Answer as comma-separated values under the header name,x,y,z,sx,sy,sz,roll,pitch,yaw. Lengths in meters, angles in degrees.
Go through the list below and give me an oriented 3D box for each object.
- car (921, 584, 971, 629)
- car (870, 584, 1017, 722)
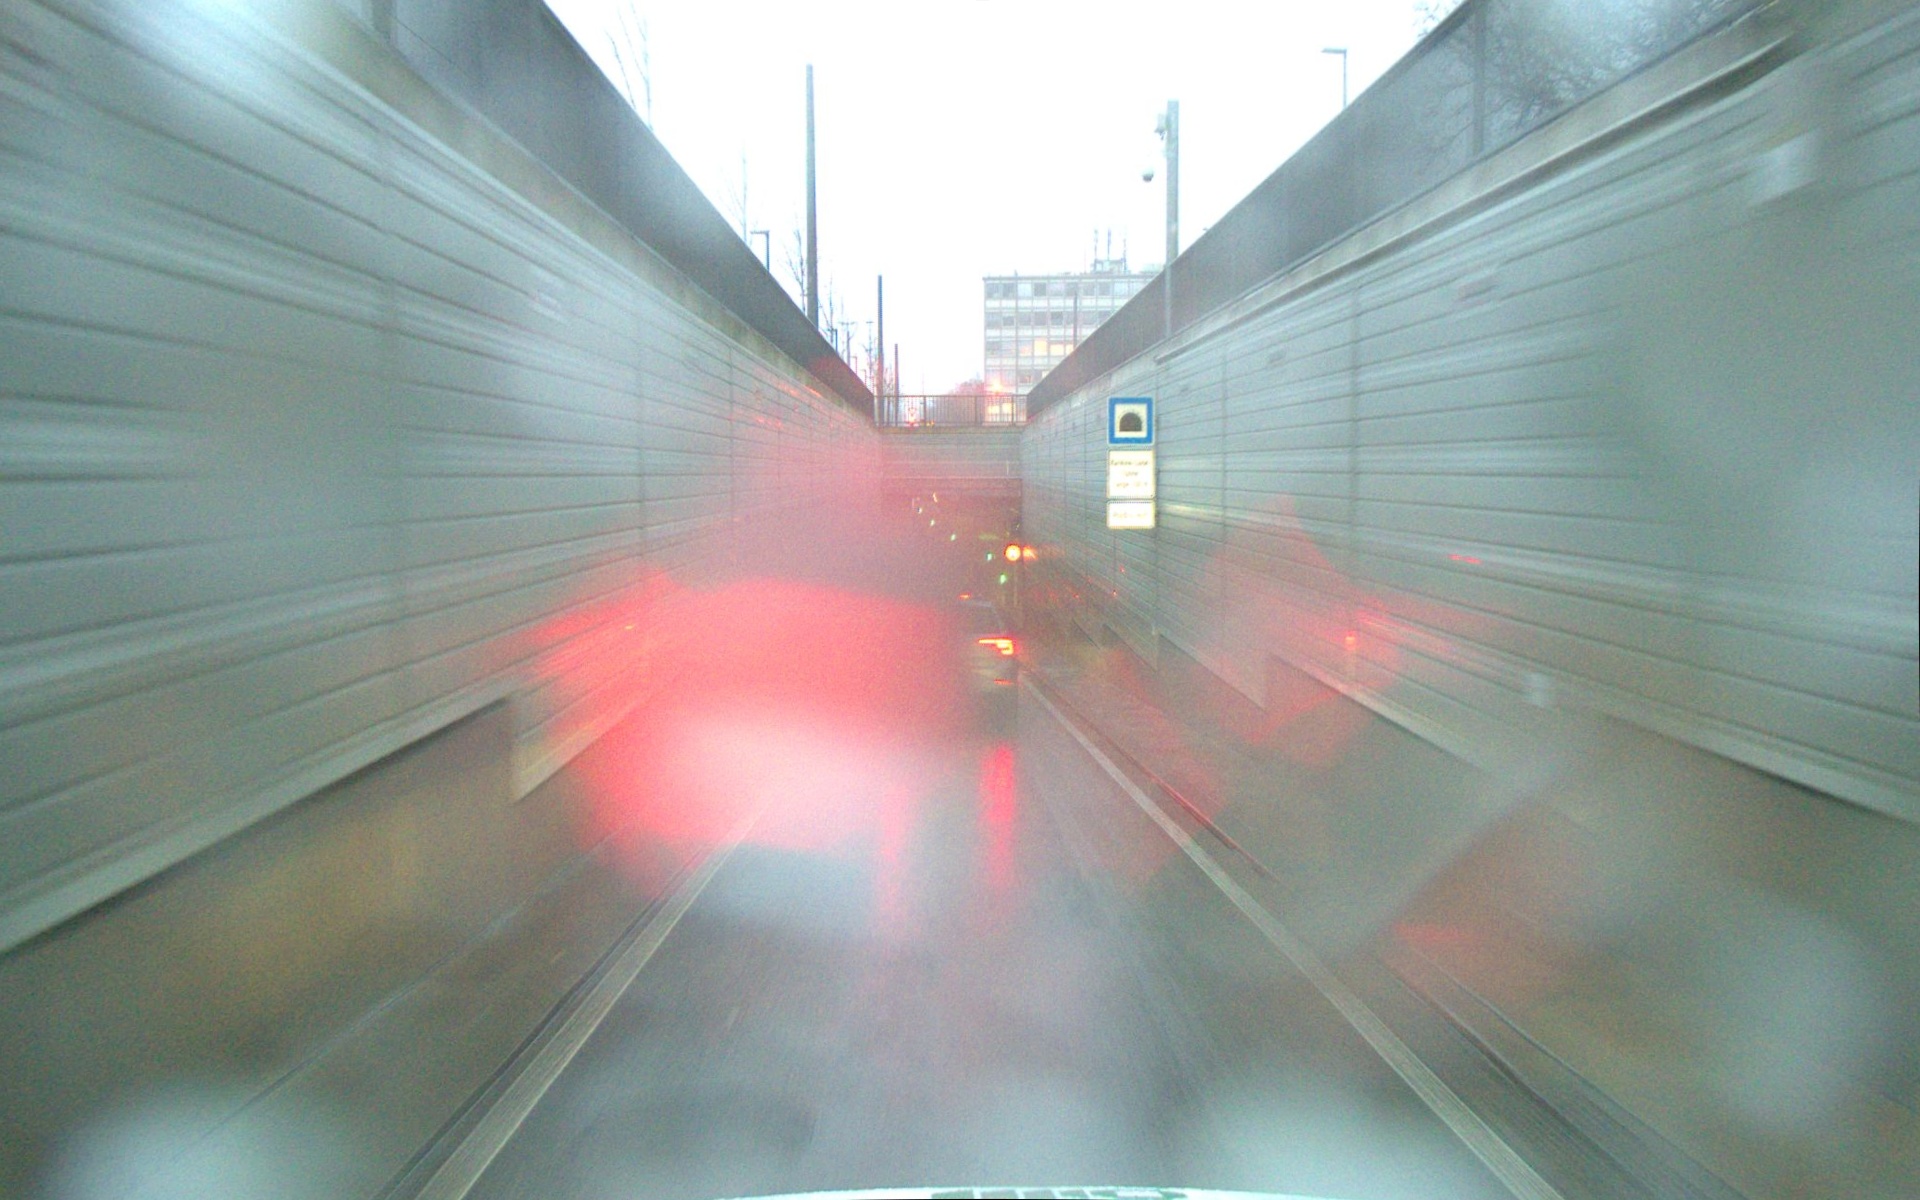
name,x,y,z,sx,sy,sz,roll,pitch,yaw
car,-0.596,0.250,67.144,1.881,1.511,4.000,1,4,-2
car,-0.164,0.603,21.293,1.687,1.505,4.001,1,1,1
